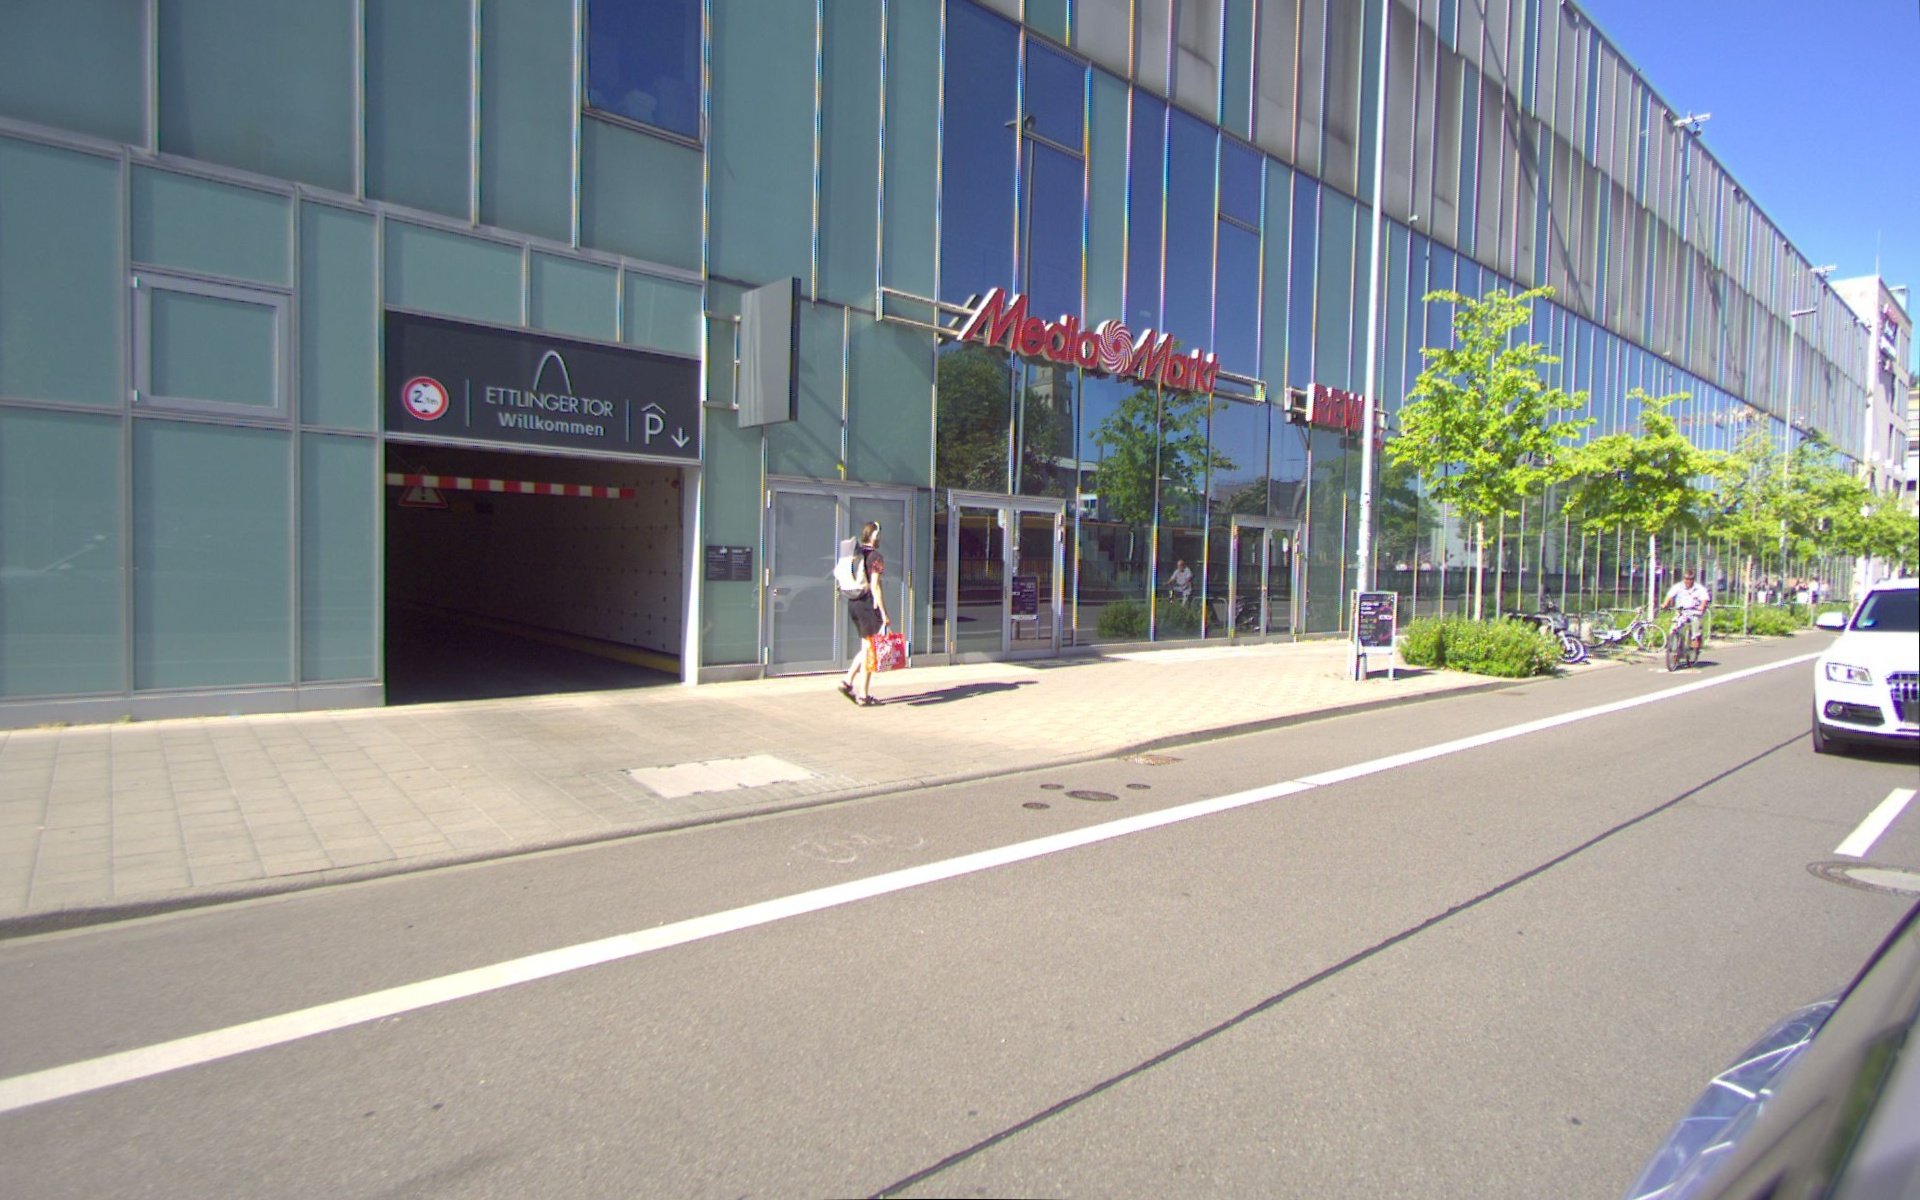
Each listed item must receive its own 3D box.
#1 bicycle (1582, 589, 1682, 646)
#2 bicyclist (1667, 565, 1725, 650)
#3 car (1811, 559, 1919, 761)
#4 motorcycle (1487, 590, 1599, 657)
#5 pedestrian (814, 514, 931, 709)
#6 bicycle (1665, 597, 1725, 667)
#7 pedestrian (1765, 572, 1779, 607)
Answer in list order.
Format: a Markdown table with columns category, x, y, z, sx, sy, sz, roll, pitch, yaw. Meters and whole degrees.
| category | x | y | z | sx | sy | sz | roll | pitch | yaw |
| --- | --- | --- | --- | --- | --- | --- | --- | --- | --- |
| bicycle | 14.640 | 0.360 | 22.077 | 1.729 | 1.075 | 0.462 | 5 | 4 | 34 |
| bicyclist | 13.258 | 0.116 | 18.229 | 0.754 | 1.480 | 0.578 | 2 | 2 | 45 |
| car | 9.484 | 0.472 | 9.433 | 3.933 | 1.654 | 1.931 | -1 | 1 | -43 |
| motorcycle | 11.066 | 0.422 | 19.304 | 0.630 | 1.095 | 1.887 | 0 | 4 | -17 |
| pedestrian | -0.937 | 0.072 | 10.800 | 0.880 | 1.946 | 0.877 | -3 | 6 | -41 |
| bicycle | 13.271 | 0.546 | 18.252 | 0.608 | 1.165 | 1.956 | 0 | 1 | 44 |
| pedestrian | 40.688 | -0.539 | 50.709 | 0.339 | 1.712 | 0.450 | 0 | 1 | -41 |
